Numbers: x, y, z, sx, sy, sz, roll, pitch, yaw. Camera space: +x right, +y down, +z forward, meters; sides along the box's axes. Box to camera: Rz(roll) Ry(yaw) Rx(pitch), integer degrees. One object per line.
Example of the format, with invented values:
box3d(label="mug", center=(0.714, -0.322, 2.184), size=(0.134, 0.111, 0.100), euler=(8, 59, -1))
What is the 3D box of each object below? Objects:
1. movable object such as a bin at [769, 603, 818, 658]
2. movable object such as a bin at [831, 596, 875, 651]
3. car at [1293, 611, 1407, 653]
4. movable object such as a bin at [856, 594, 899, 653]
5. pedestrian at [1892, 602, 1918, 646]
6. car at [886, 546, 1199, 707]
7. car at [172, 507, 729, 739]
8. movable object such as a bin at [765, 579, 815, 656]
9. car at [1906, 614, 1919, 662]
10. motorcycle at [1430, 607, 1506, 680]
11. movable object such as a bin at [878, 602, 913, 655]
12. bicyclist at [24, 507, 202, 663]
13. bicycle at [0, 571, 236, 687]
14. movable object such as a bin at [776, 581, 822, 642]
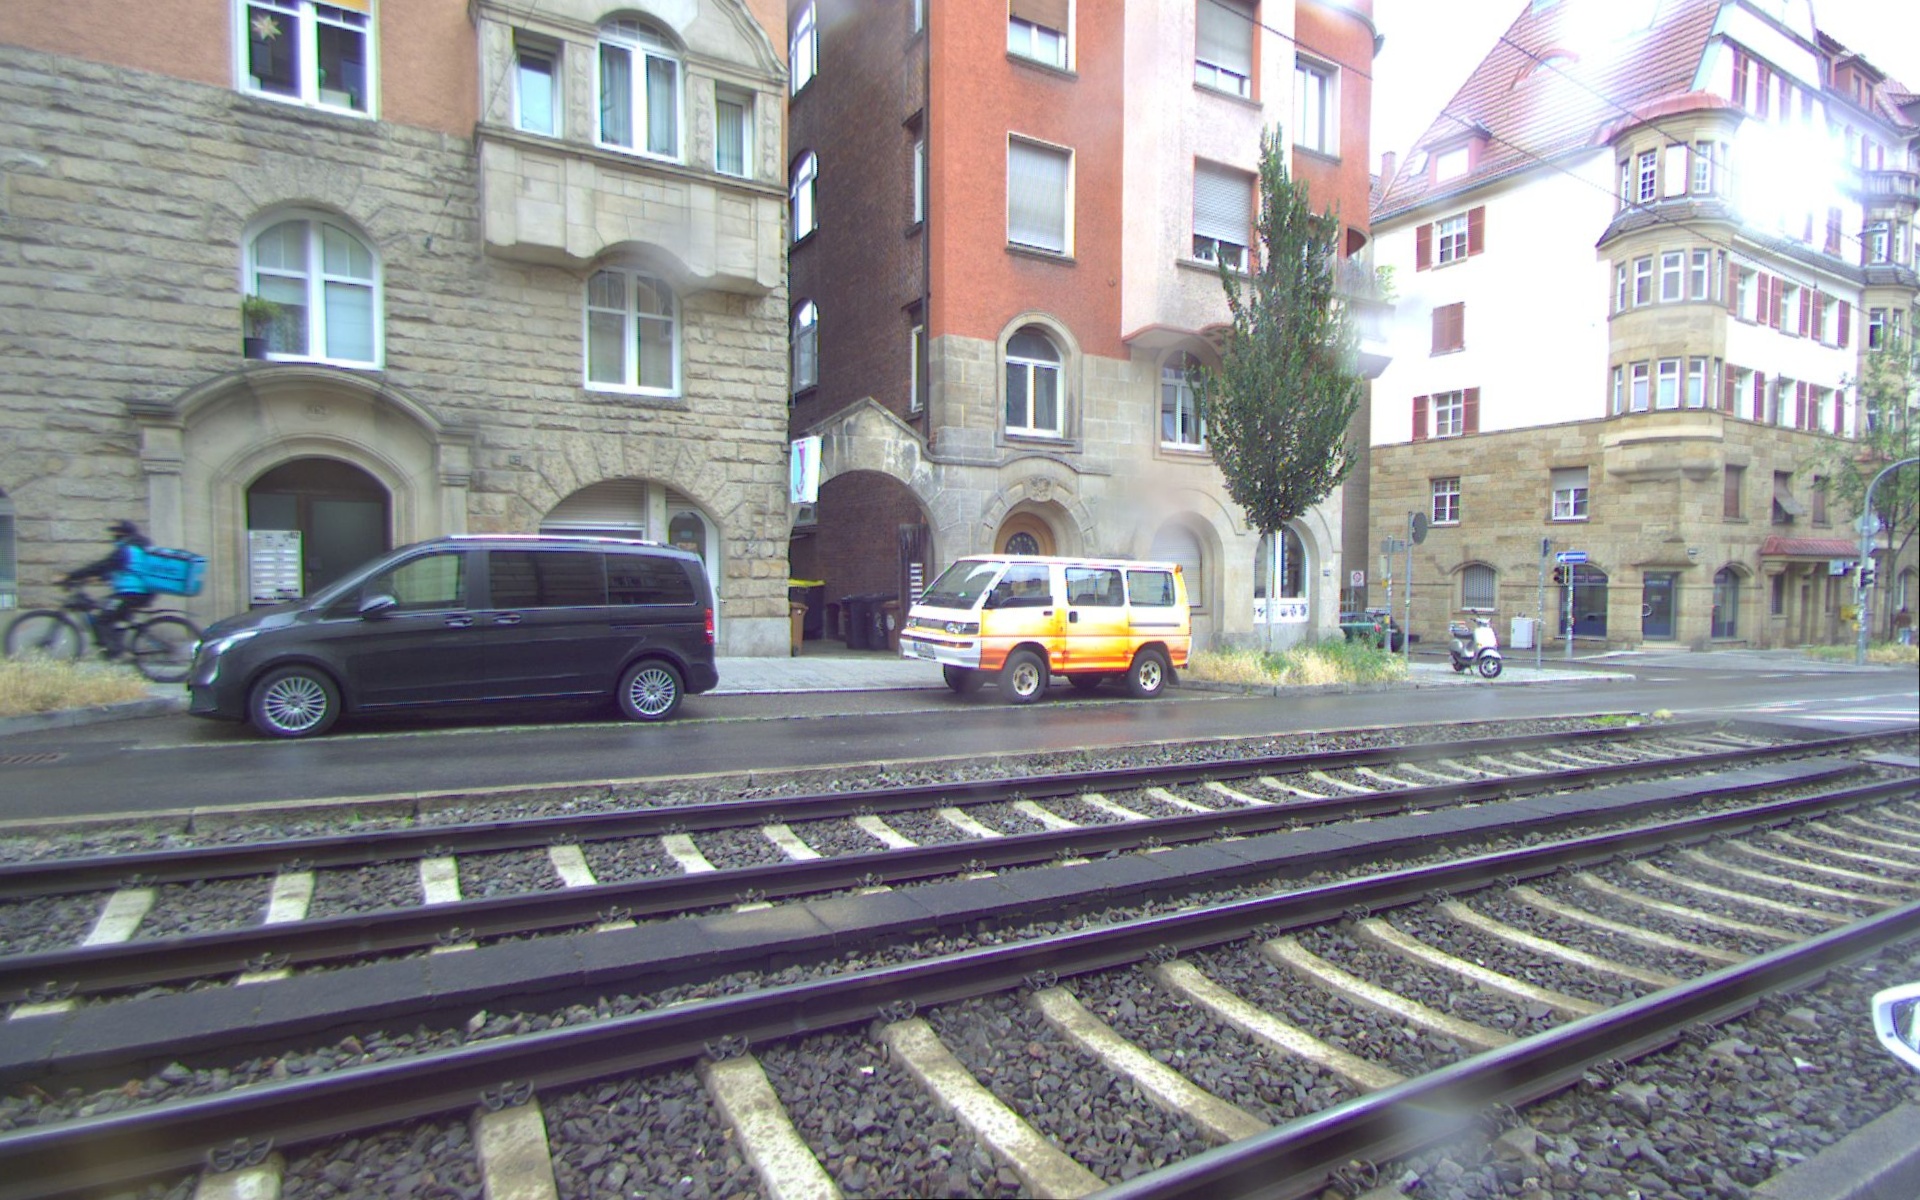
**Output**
box3d(label="movable object such as a bin", center=(-2.916, 0.531, 17.576), size=(0.627, 0.918, 0.793), euler=(1, 1, -27))
box3d(label="movable object such as a bin", center=(-2.108, 0.453, 19.672), size=(0.607, 1.052, 0.793), euler=(1, -1, -27))
box3d(label="car", center=(14.436, 1.165, 37.330), size=(1.683, 1.423, 3.618), euler=(2, 0, -34))
box3d(label="movable object such as a bin", center=(-1.570, 0.448, 19.125), size=(0.607, 1.090, 0.679), euler=(1, -1, -27))
box3d(label="pedestrian", center=(36.753, 0.931, 39.075), size=(0.696, 1.695, 0.626), euler=(2, 0, -39))
box3d(label="car", center=(1.251, 0.384, 14.425), size=(4.295, 2.001, 1.721), euler=(2, 0, -32))
box3d(label="car", center=(-5.075, 0.258, 10.580), size=(4.769, 1.968, 1.984), euler=(2, 0, -30))
box3d(label="movable object such as a bin", center=(-3.131, 0.309, 18.449), size=(0.648, 1.360, 0.903), euler=(1, 1, -27))
box3d(label="car", center=(34.143, 1.341, 34.340), size=(3.994, 1.573, 1.741), euler=(2, 0, -34))
box3d(label="motorcycle", center=(10.081, 0.839, 19.987), size=(0.612, 1.384, 1.596), euler=(2, 0, -3))
box3d(label="movable object such as a bin", center=(-1.198, 0.523, 18.617), size=(0.442, 0.957, 0.557), euler=(1, -1, -27))
box3d(label="bicyclist", center=(-9.266, -0.151, 11.051), size=(1.234, 1.618, 0.883), euler=(1, 0, -20))
box3d(label="bicycle", center=(-9.326, 0.314, 11.072), size=(2.006, 1.202, 0.822), euler=(1, 1, -21))
box3d(label="movable object such as a bin", center=(-3.635, 0.246, 22.643), size=(0.676, 1.324, 1.154), euler=(1, 1, -26))
